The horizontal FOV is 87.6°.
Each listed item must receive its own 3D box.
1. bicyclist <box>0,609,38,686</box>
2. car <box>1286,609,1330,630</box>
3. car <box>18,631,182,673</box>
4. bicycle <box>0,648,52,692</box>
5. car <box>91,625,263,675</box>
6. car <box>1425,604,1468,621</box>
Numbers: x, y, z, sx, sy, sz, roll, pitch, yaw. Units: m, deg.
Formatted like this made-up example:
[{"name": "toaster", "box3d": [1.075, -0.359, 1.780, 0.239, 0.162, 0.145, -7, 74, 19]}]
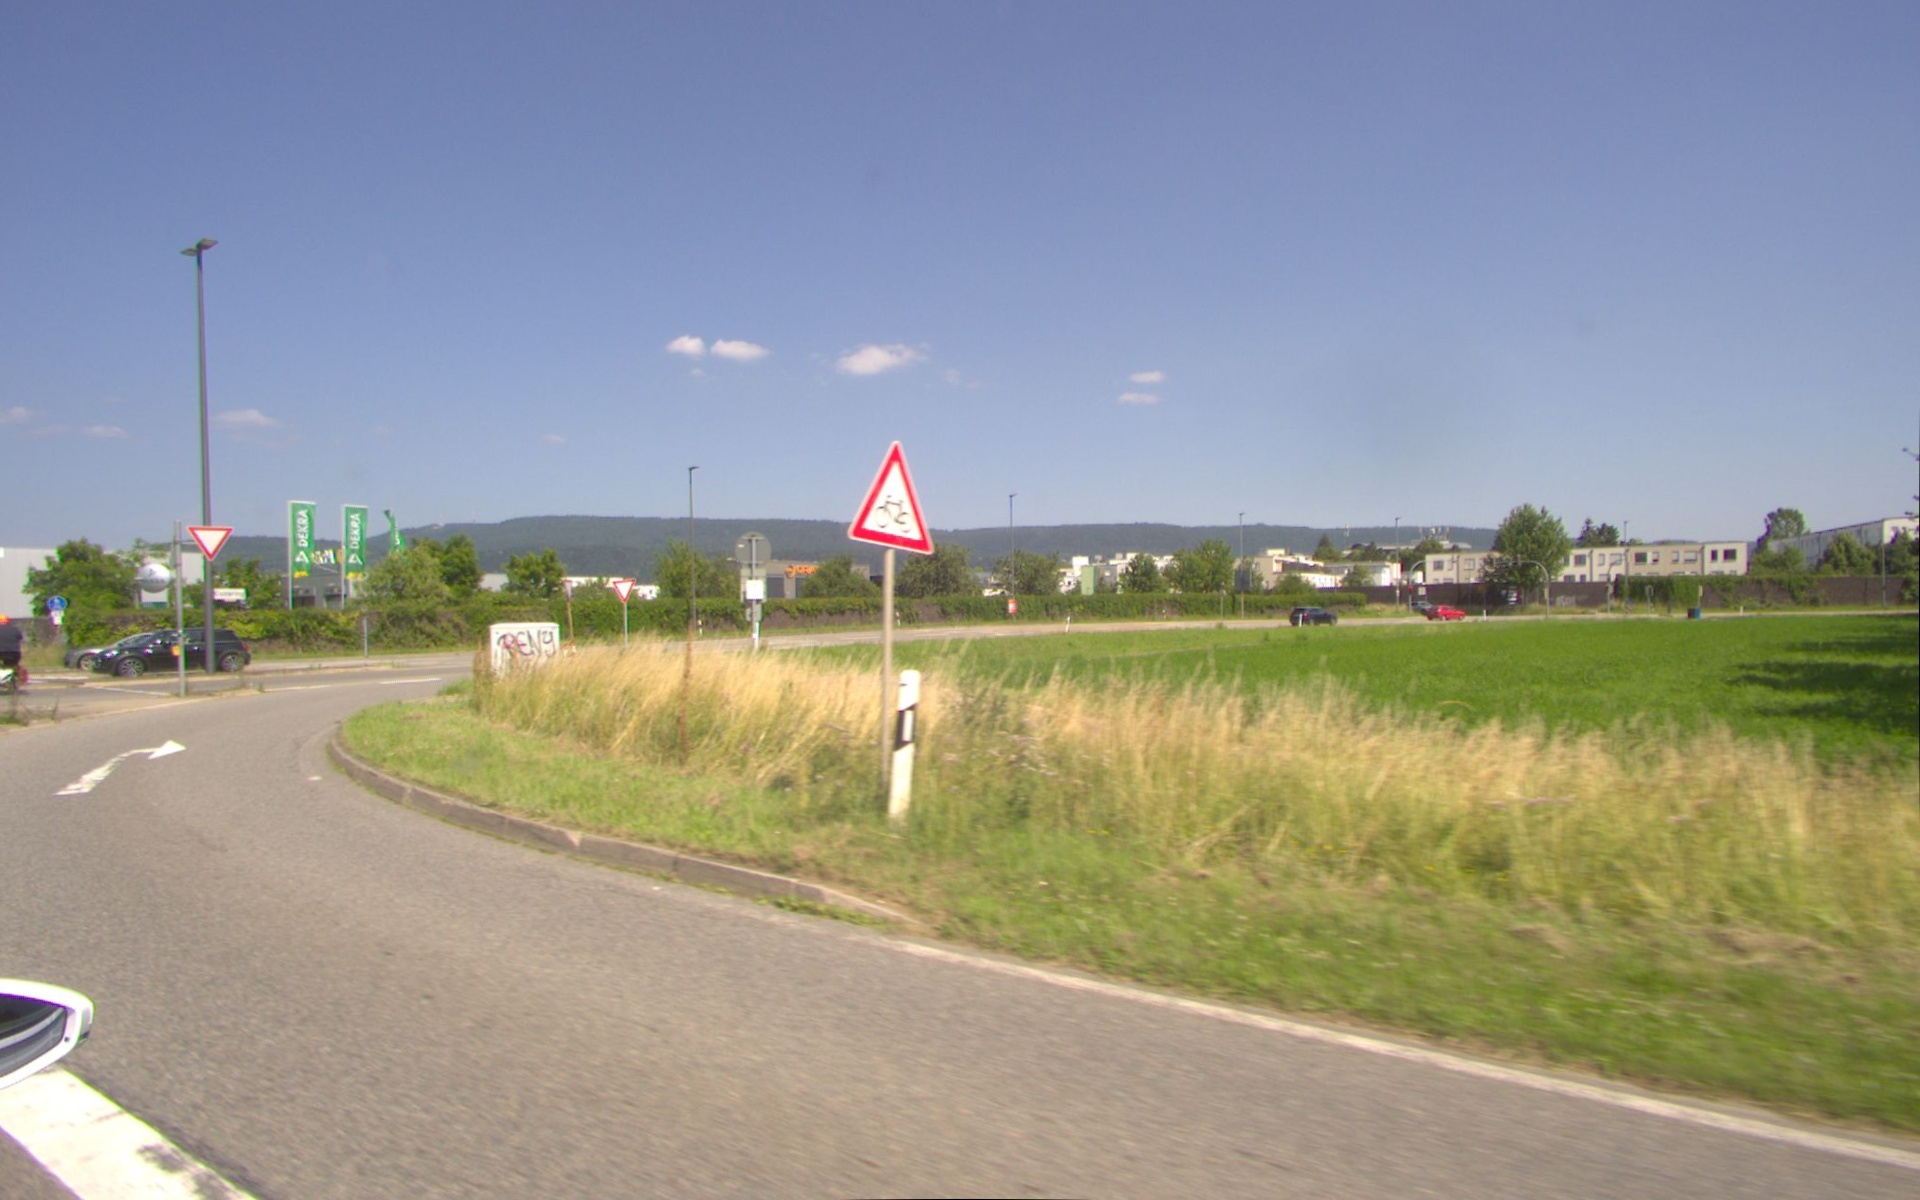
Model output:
[{"name": "bicyclist", "box3d": [-22.517, 1.114, 23.711, 0.797, 1.795, 0.800, 0, 0, 32]}, {"name": "car", "box3d": [29.125, 1.639, 83.787, 1.978, 1.638, 4.301, -1, 0, 43]}, {"name": "car", "box3d": [-31.492, 1.876, 36.844, 4.318, 1.344, 1.796, 0, 0, -32]}, {"name": "bicycle", "box3d": [-22.493, 1.628, 23.723, 2.740, 0.927, 0.760, -1, 0, 32]}, {"name": "car", "box3d": [-23.973, 1.479, 30.752, 1.787, 1.344, 3.964, -1, 0, 44]}, {"name": "car", "box3d": [47.161, 1.219, 97.105, 3.940, 1.567, 1.766, -1, 0, -29]}]
